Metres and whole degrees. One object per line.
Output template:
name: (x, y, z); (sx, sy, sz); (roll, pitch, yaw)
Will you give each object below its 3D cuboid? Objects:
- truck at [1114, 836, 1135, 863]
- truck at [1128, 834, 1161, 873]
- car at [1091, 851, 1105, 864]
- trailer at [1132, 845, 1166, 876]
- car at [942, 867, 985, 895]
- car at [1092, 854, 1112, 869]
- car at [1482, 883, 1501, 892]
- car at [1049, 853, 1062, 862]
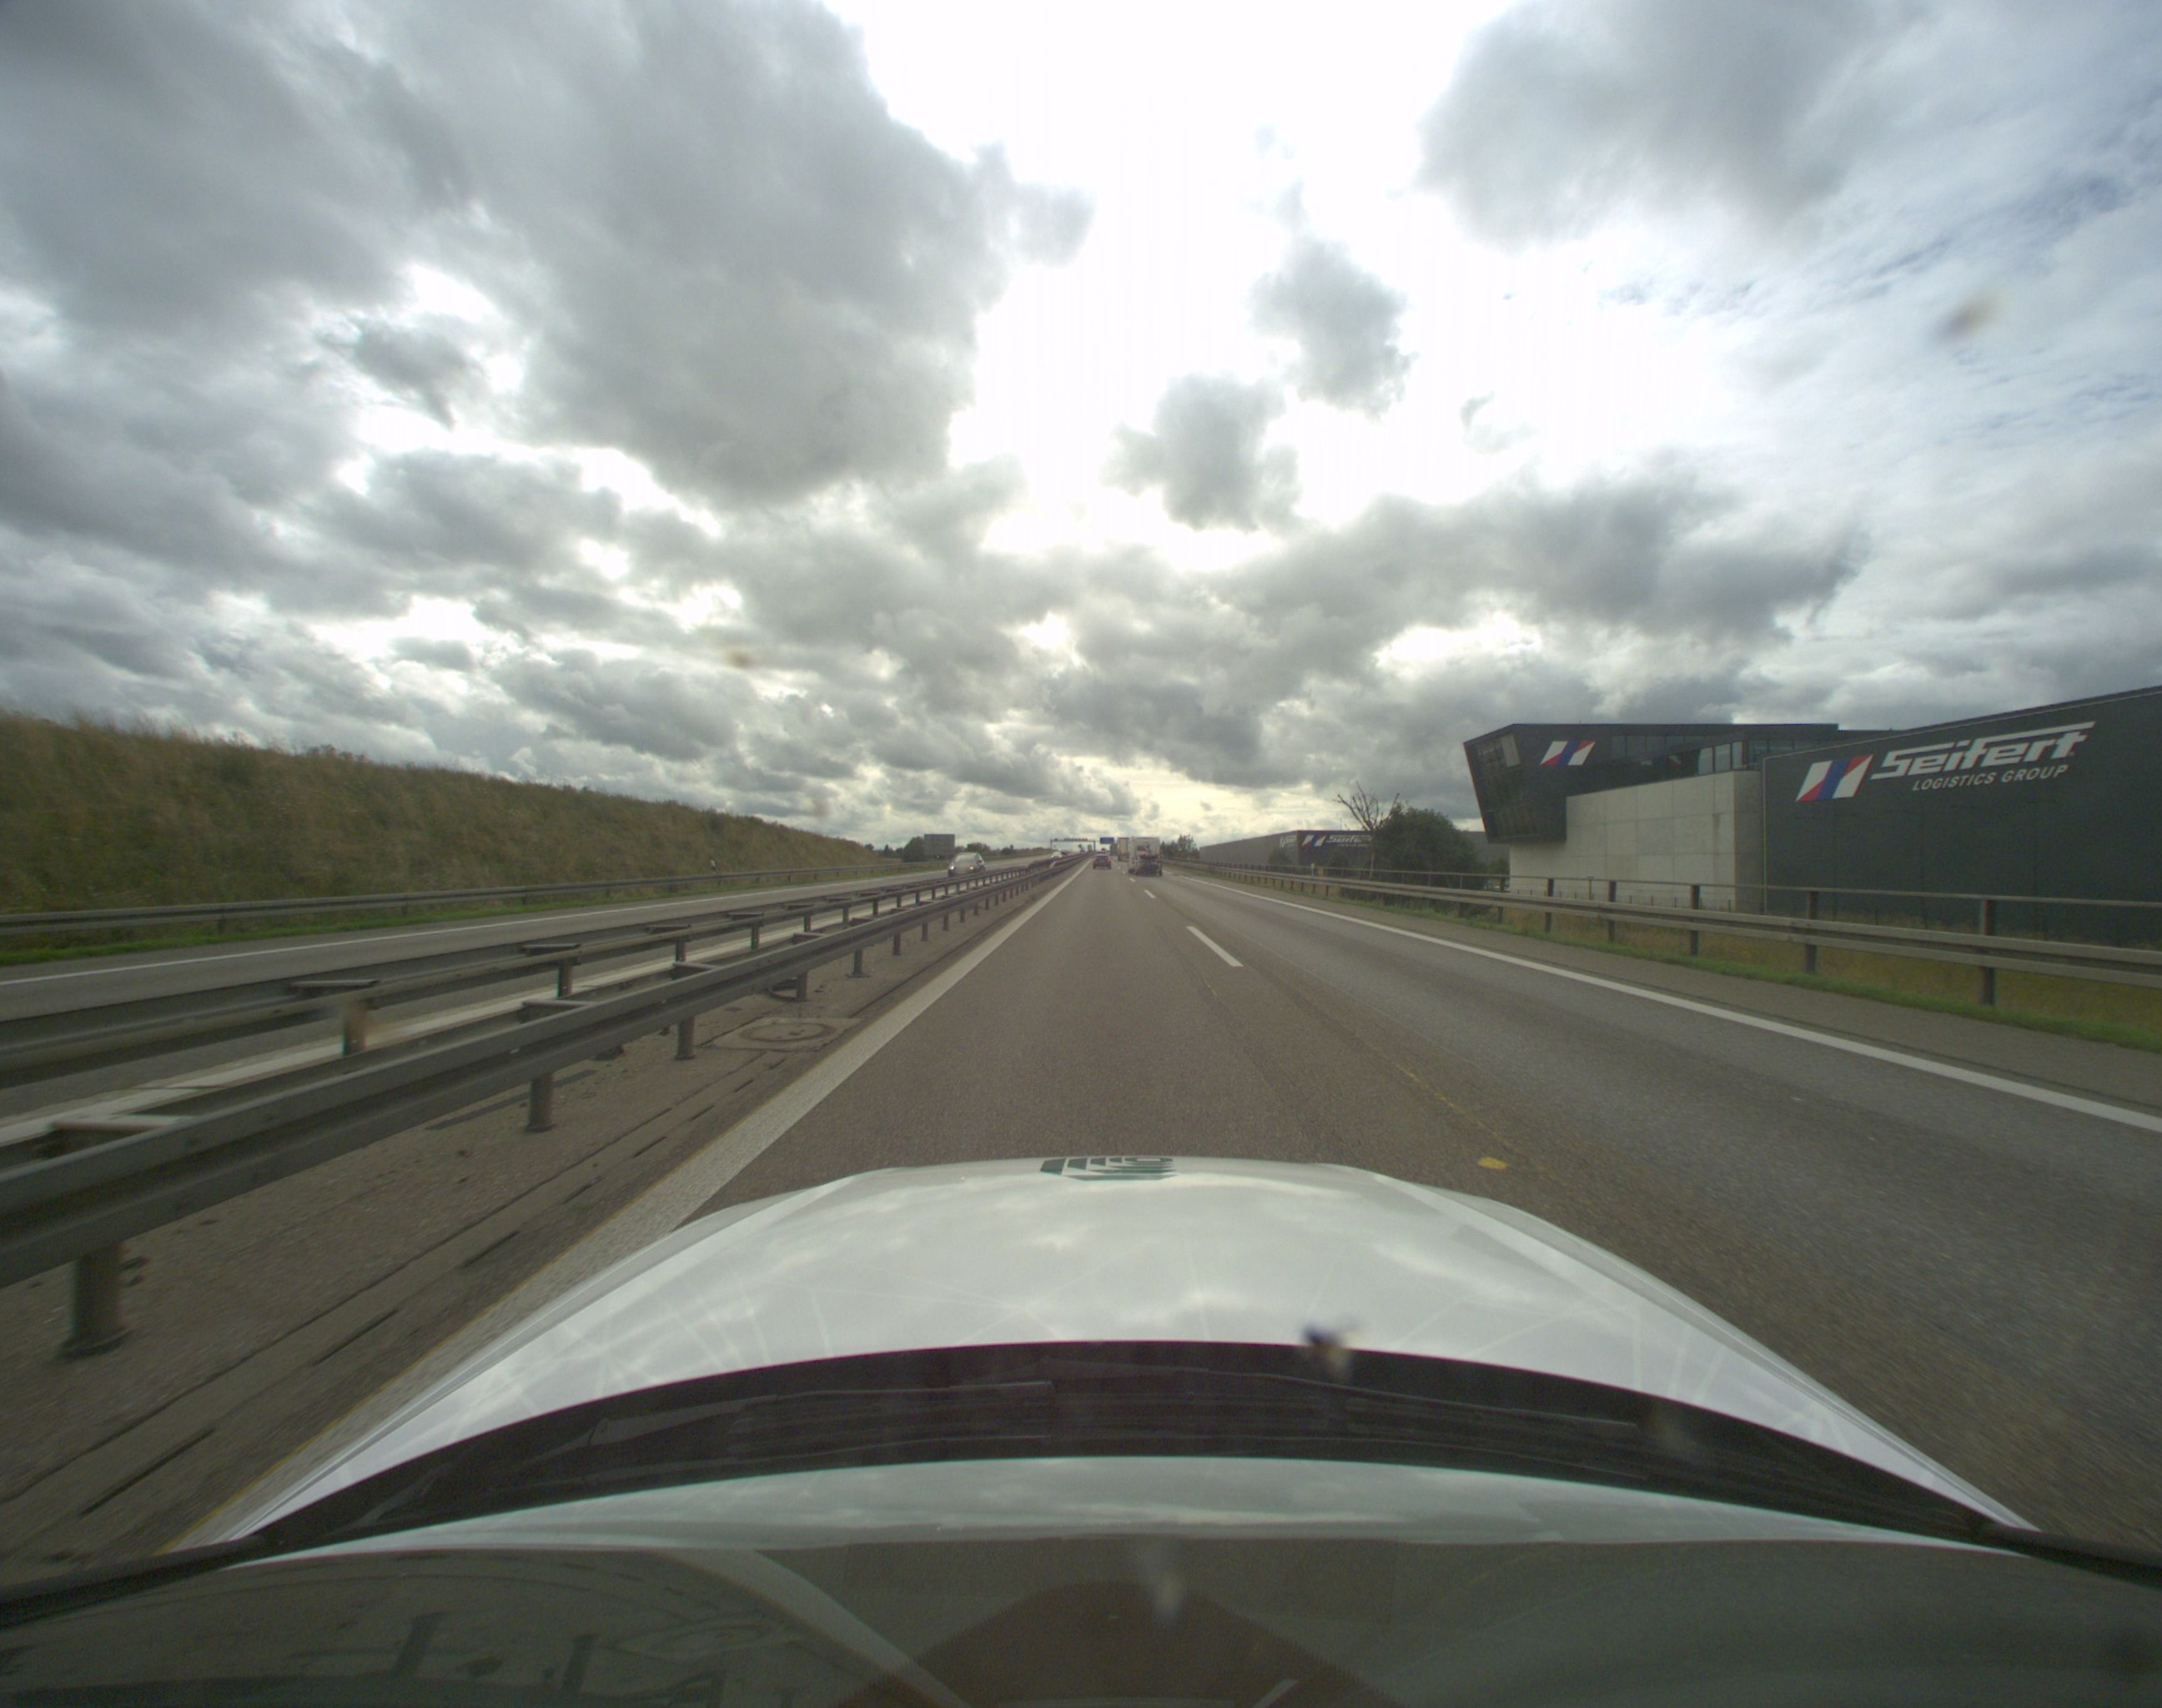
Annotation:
truck: (7.388, -0.732, 138.817); (3.326, 4.534, 8.020); (0, -1, 2)
truck: (5.037, 0.001, 65.449); (2.472, 2.950, 5.817); (0, -1, 2)
car: (2.274, 0.504, 108.315); (1.885, 1.772, 3.922); (0, -1, 2)
trailer: (4.833, 0.480, 58.289); (2.328, 2.136, 4.004); (0, -1, 4)
car: (-6.919, 1.580, 48.221); (1.834, 1.576, 4.001); (0, -1, 2)
car: (2.103, 0.772, 80.162); (1.738, 1.453, 4.004); (0, -1, 4)
car: (79.174, 6.445, 157.043); (1.669, 1.494, 4.001); (2, 0, 1)
car: (-4.378, 0.652, 141.124); (1.899, 1.513, 4.731); (0, -1, 1)
